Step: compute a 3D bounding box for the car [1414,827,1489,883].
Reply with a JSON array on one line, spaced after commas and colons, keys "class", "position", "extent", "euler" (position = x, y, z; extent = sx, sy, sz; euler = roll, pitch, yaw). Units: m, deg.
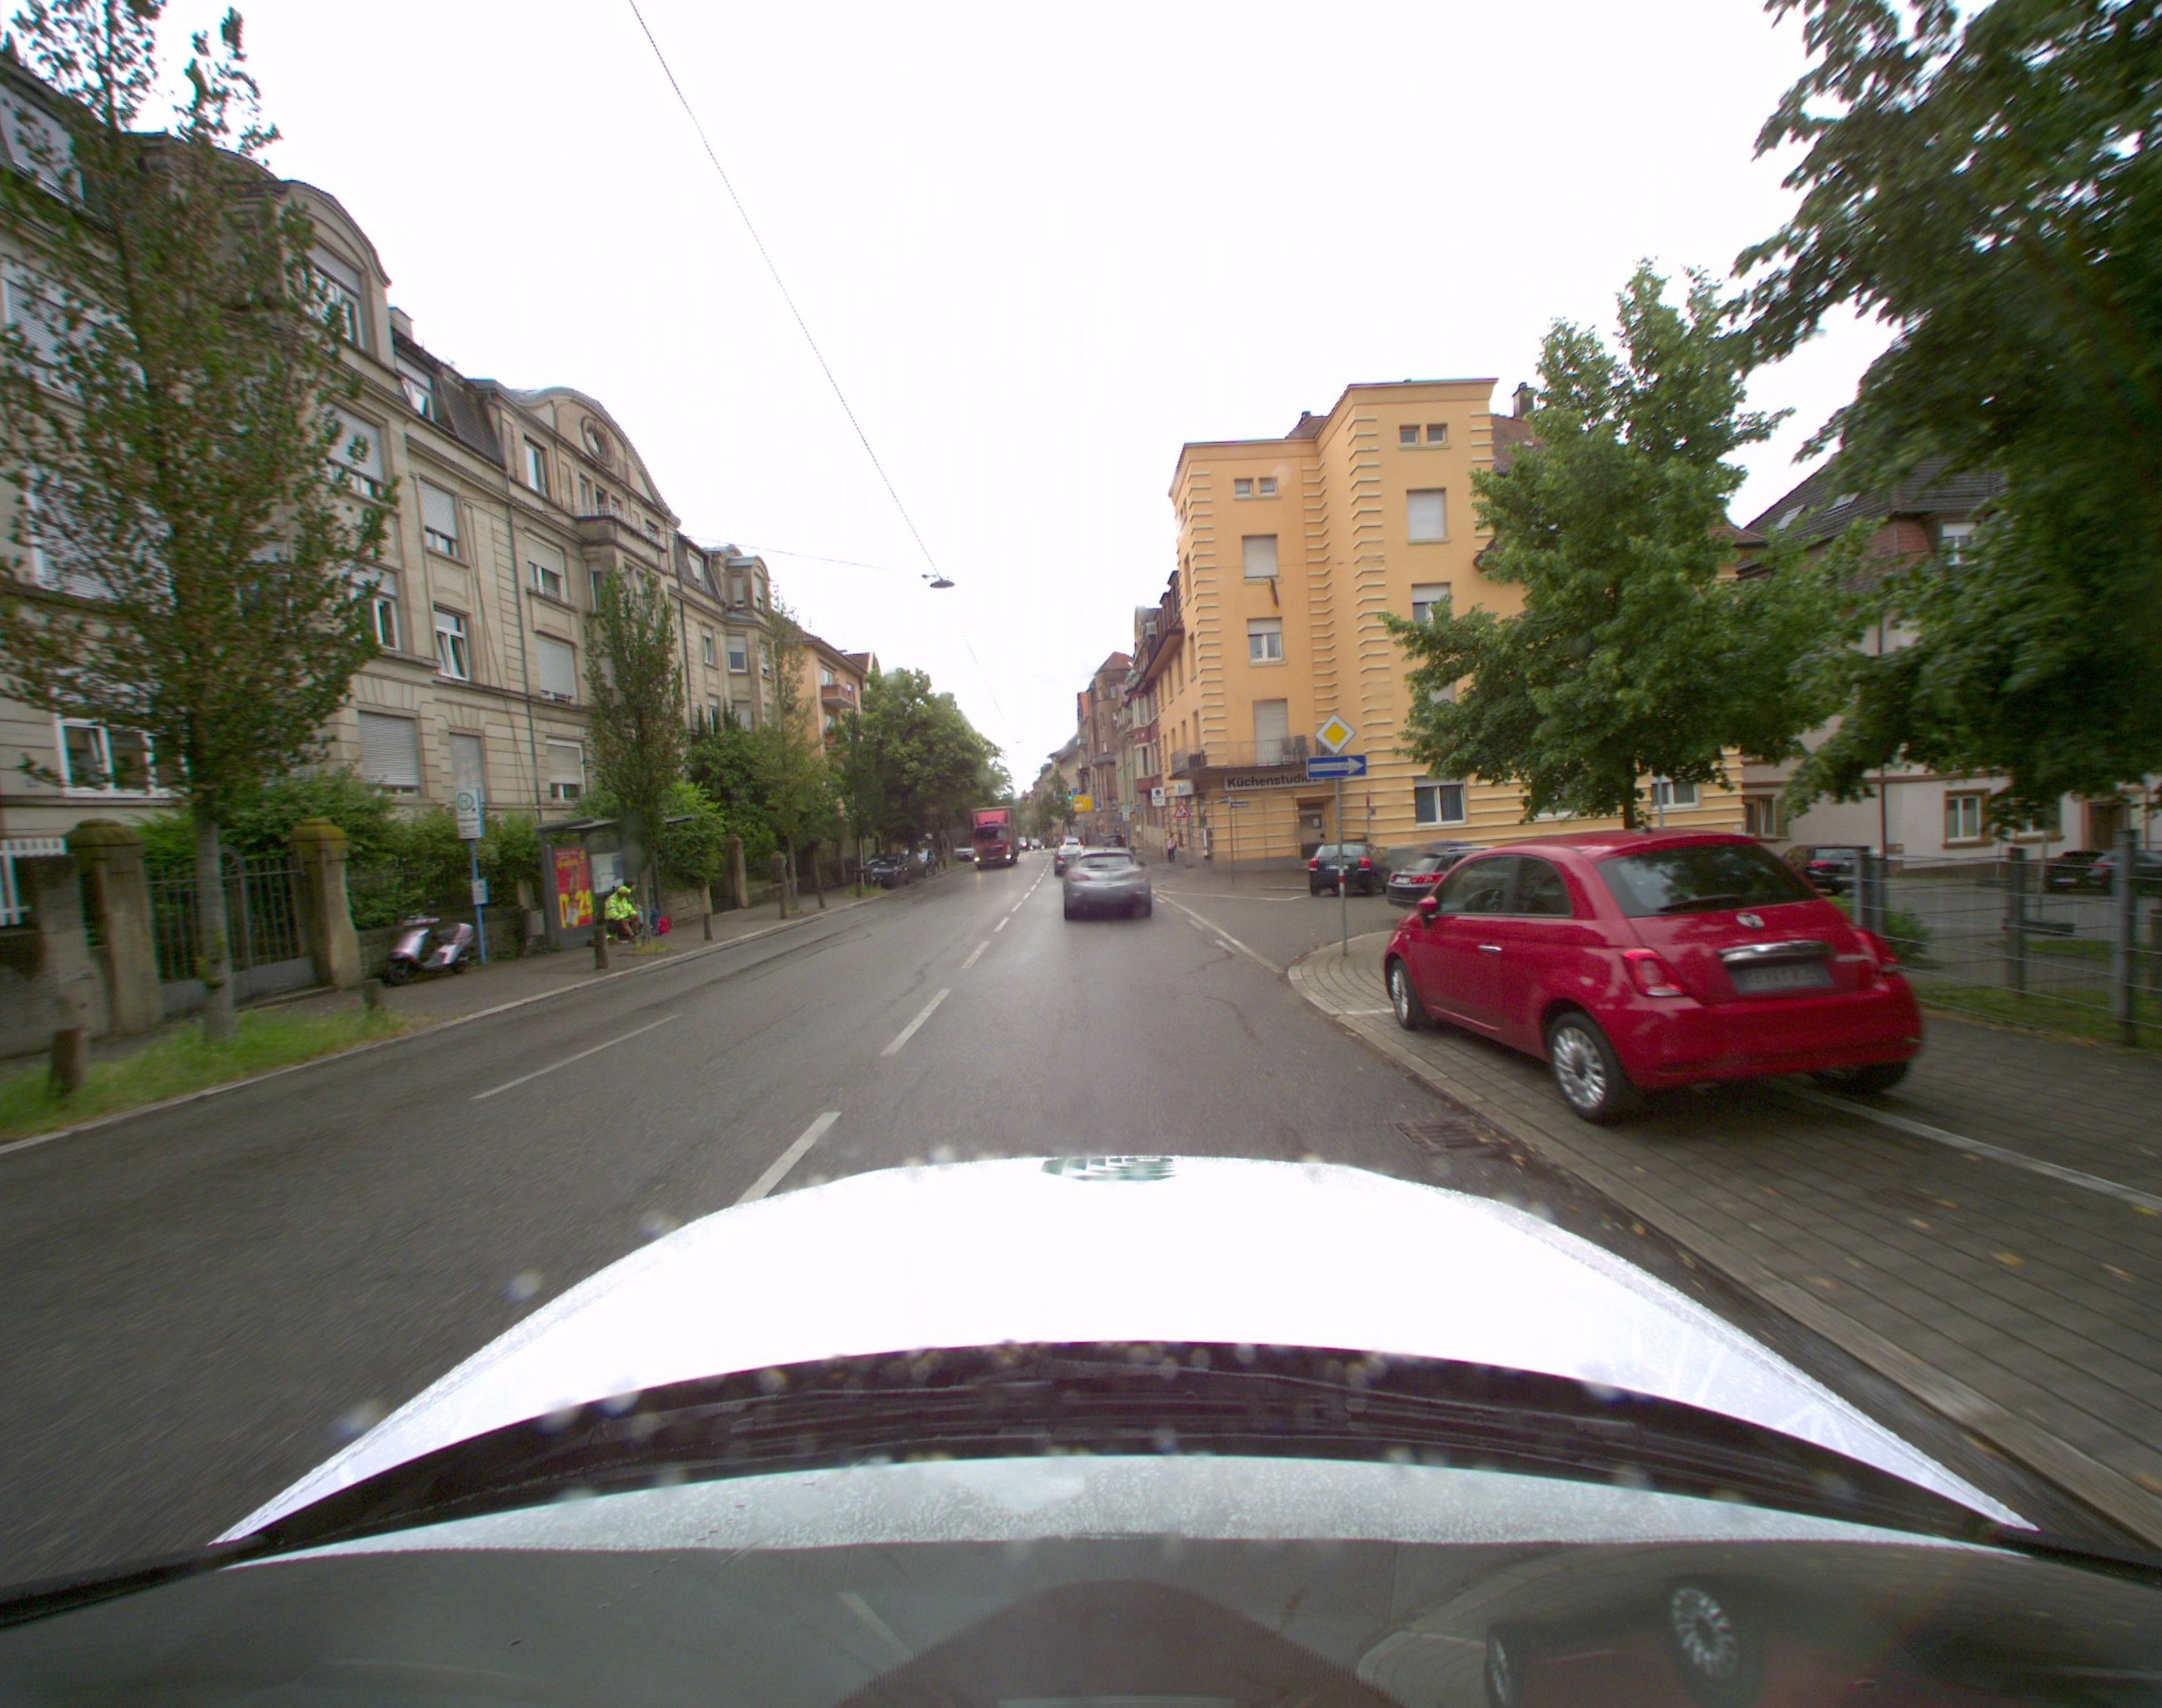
[{"class": "car", "position": [10.878, 0.049, 23.811], "extent": [1.687, 1.492, 3.659], "euler": [-2, -1, 29]}]

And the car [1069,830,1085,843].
[{"class": "car", "position": [-0.596, -2.453, 112.318], "extent": [1.656, 1.542, 3.655], "euler": [-7, 1, -8]}]

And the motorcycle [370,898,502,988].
[{"class": "motorcycle", "position": [-10.761, 1.450, 13.676], "extent": [0.653, 1.237, 1.764], "euler": [-5, 1, 3]}]

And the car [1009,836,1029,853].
[{"class": "car", "position": [-6.600, -1.030, 86.620], "extent": [1.767, 1.517, 4.589], "euler": [-5, 3, -2]}]

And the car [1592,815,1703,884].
[{"class": "car", "position": [16.148, -0.207, 23.435], "extent": [1.688, 1.724, 4.566], "euler": [-1, 2, 23]}]

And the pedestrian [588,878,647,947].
[{"class": "pedestrian", "position": [-10.535, 1.317, 18.528], "extent": [0.764, 1.432, 0.759], "euler": [-5, 1, -1]}]

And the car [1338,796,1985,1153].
[{"class": "car", "position": [3.328, 0.524, 5.750], "extent": [1.605, 1.501, 3.957], "euler": [-5, 1, -1]}]

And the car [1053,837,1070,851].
[{"class": "car", "position": [-2.485, -1.213, 103.149], "extent": [1.656, 1.542, 3.655], "euler": [-7, 1, -8]}]

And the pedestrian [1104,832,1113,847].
[{"class": "pedestrian", "position": [3.002, -1.565, 88.790], "extent": [0.592, 1.584, 0.669], "euler": [-6, 2, 17]}]

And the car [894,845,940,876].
[{"class": "car", "position": [-9.337, 0.333, 46.647], "extent": [1.736, 1.559, 4.301], "euler": [-2, 1, 0]}]

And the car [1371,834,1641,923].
[{"class": "car", "position": [8.077, 0.412, 15.705], "extent": [4.262, 1.498, 1.999], "euler": [-1, 2, -6]}]

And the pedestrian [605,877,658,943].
[{"class": "pedestrian", "position": [-10.572, 1.304, 19.179], "extent": [0.763, 1.432, 0.650], "euler": [-5, 1, 1]}]

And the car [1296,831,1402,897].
[{"class": "car", "position": [7.610, 0.221, 22.848], "extent": [1.831, 1.468, 4.137], "euler": [-4, 1, 31]}]

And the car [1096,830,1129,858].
[{"class": "car", "position": [2.173, -0.716, 57.378], "extent": [1.871, 1.629, 4.696], "euler": [-7, 1, 0]}]

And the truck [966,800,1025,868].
[{"class": "truck", "position": [-5.528, -1.341, 54.185], "extent": [2.640, 3.853, 9.304], "euler": [-6, 1, -1]}]

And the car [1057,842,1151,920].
[{"class": "car", "position": [0.470, 0.510, 18.145], "extent": [1.805, 1.449, 3.869], "euler": [-3, 1, 0]}]

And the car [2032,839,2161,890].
[{"class": "car", "position": [32.089, 0.295, 25.187], "extent": [3.508, 1.388, 1.612], "euler": [-1, 4, -2]}]

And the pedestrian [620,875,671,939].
[{"class": "pedestrian", "position": [-10.590, 1.282, 19.828], "extent": [0.763, 1.432, 0.650], "euler": [-5, 1, 1]}]

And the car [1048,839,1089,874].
[{"class": "car", "position": [-0.584, 0.075, 39.208], "extent": [1.767, 1.504, 3.868], "euler": [-3, 1, 0]}]

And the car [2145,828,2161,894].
[{"class": "car", "position": [25.282, 0.175, 17.190], "extent": [3.510, 1.425, 1.776], "euler": [-1, 4, -4]}]

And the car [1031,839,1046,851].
[{"class": "car", "position": [-5.783, -1.255, 110.831], "extent": [1.812, 1.517, 4.541], "euler": [-3, 2, -4]}]

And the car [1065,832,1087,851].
[{"class": "car", "position": [-0.400, -1.048, 69.002], "extent": [1.767, 1.504, 3.868], "euler": [-3, 1, 0]}]

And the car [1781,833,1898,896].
[{"class": "car", "position": [21.628, 0.258, 23.387], "extent": [1.686, 1.468, 3.636], "euler": [-4, 1, 31]}]

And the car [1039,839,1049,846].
[{"class": "car", "position": [-7.500, -2.347, 166.151], "extent": [1.636, 1.429, 3.367], "euler": [-5, 1, -8]}]

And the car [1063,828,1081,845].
[{"class": "car", "position": [-0.876, -1.762, 81.889], "extent": [1.651, 1.542, 3.665], "euler": [-6, 1, 0]}]

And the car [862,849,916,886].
[{"class": "car", "position": [-9.016, 0.591, 38.555], "extent": [1.738, 1.559, 4.296], "euler": [-1, 1, -4]}]

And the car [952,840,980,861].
[{"class": "car", "position": [-9.568, -0.318, 67.987], "extent": [1.736, 1.559, 4.301], "euler": [-2, 1, 0]}]

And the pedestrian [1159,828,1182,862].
[{"class": "pedestrian", "position": [4.401, -0.426, 40.197], "extent": [0.769, 1.589, 0.707], "euler": [-5, 1, -20]}]

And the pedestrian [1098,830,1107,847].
[{"class": "pedestrian", "position": [2.337, -1.653, 89.004], "extent": [0.712, 1.773, 0.669], "euler": [-5, 2, 18]}]

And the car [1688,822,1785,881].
[{"class": "car", "position": [18.862, -0.129, 23.584], "extent": [1.686, 1.468, 3.636], "euler": [1, 4, 31]}]
